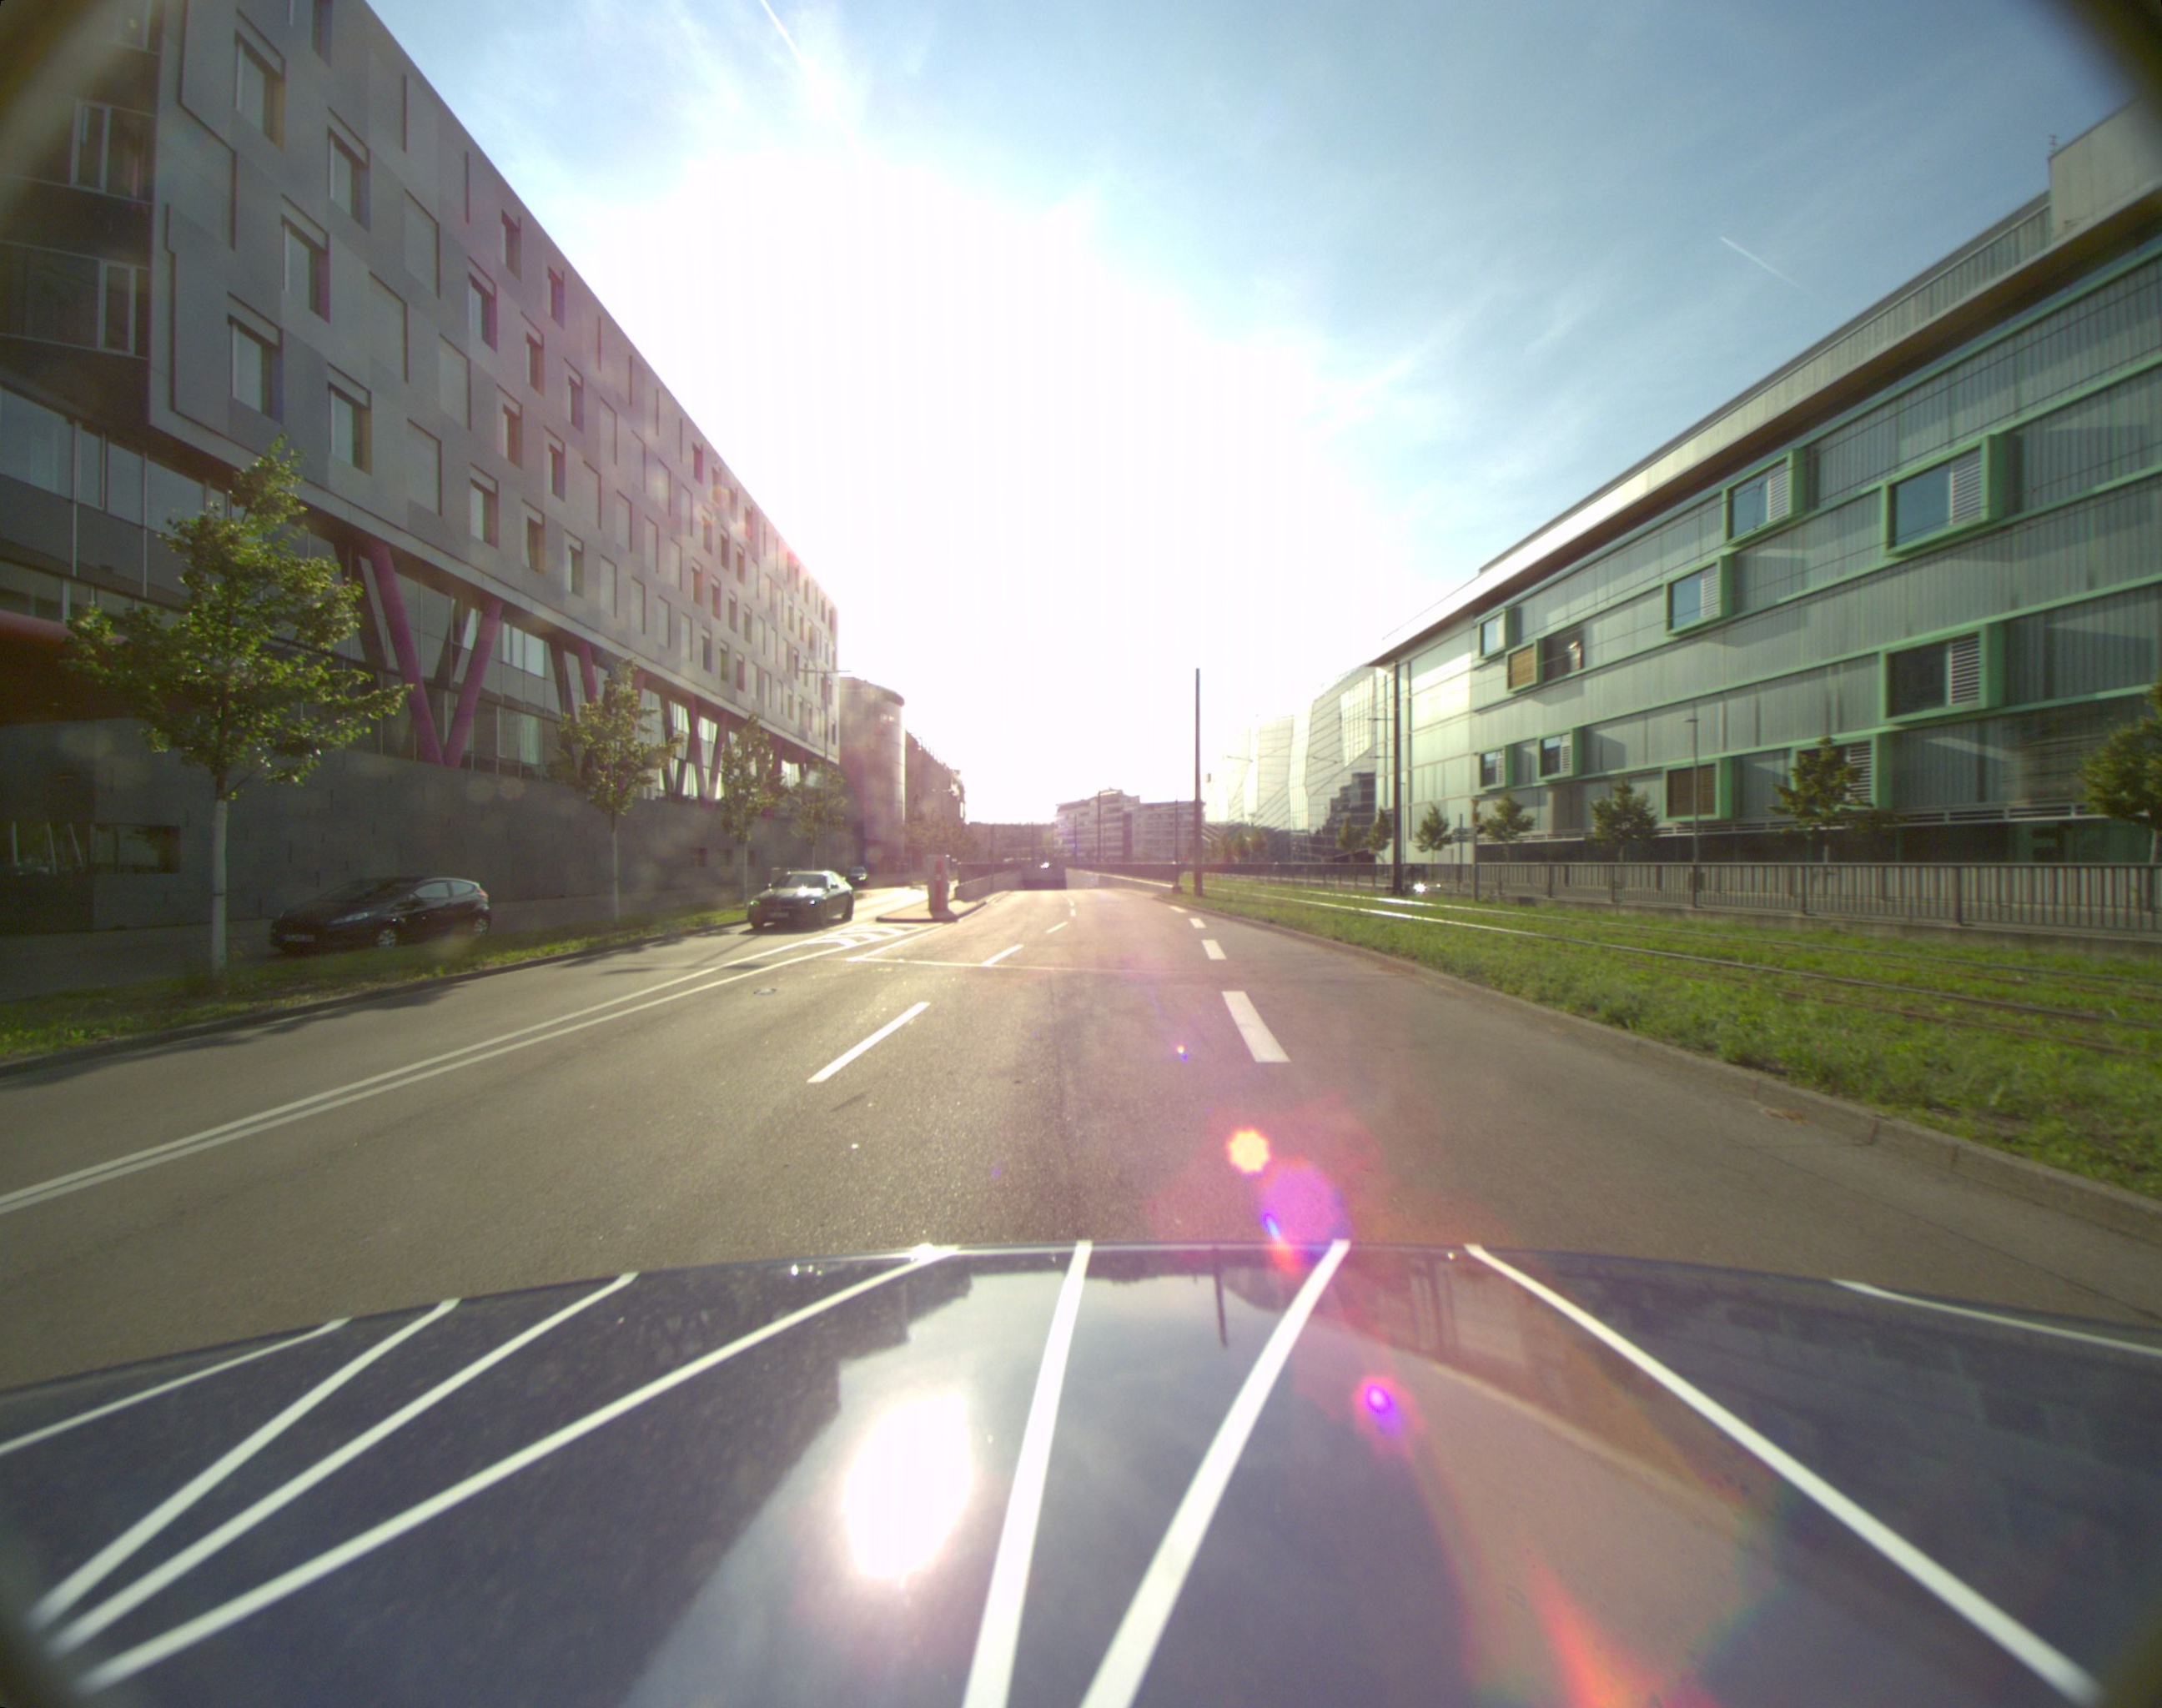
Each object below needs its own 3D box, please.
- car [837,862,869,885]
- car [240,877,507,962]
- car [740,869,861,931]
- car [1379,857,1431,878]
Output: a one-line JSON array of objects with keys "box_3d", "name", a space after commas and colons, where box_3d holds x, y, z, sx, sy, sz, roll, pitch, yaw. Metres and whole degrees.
[{"box_3d": [-16.719, 1.391, 55.579, 1.898, 1.418, 4.464, -1, 2, -20], "name": "car"}, {"box_3d": [-13.972, 1.204, 15.410, 1.696, 1.382, 4.197, 0, 0, -4], "name": "car"}, {"box_3d": [-7.623, 1.187, 21.153, 1.844, 1.441, 4.555, -1, 0, -2], "name": "car"}, {"box_3d": [22.688, 0.954, 53.430, 1.665, 1.414, 4.184, 0, 0, -3], "name": "car"}]
